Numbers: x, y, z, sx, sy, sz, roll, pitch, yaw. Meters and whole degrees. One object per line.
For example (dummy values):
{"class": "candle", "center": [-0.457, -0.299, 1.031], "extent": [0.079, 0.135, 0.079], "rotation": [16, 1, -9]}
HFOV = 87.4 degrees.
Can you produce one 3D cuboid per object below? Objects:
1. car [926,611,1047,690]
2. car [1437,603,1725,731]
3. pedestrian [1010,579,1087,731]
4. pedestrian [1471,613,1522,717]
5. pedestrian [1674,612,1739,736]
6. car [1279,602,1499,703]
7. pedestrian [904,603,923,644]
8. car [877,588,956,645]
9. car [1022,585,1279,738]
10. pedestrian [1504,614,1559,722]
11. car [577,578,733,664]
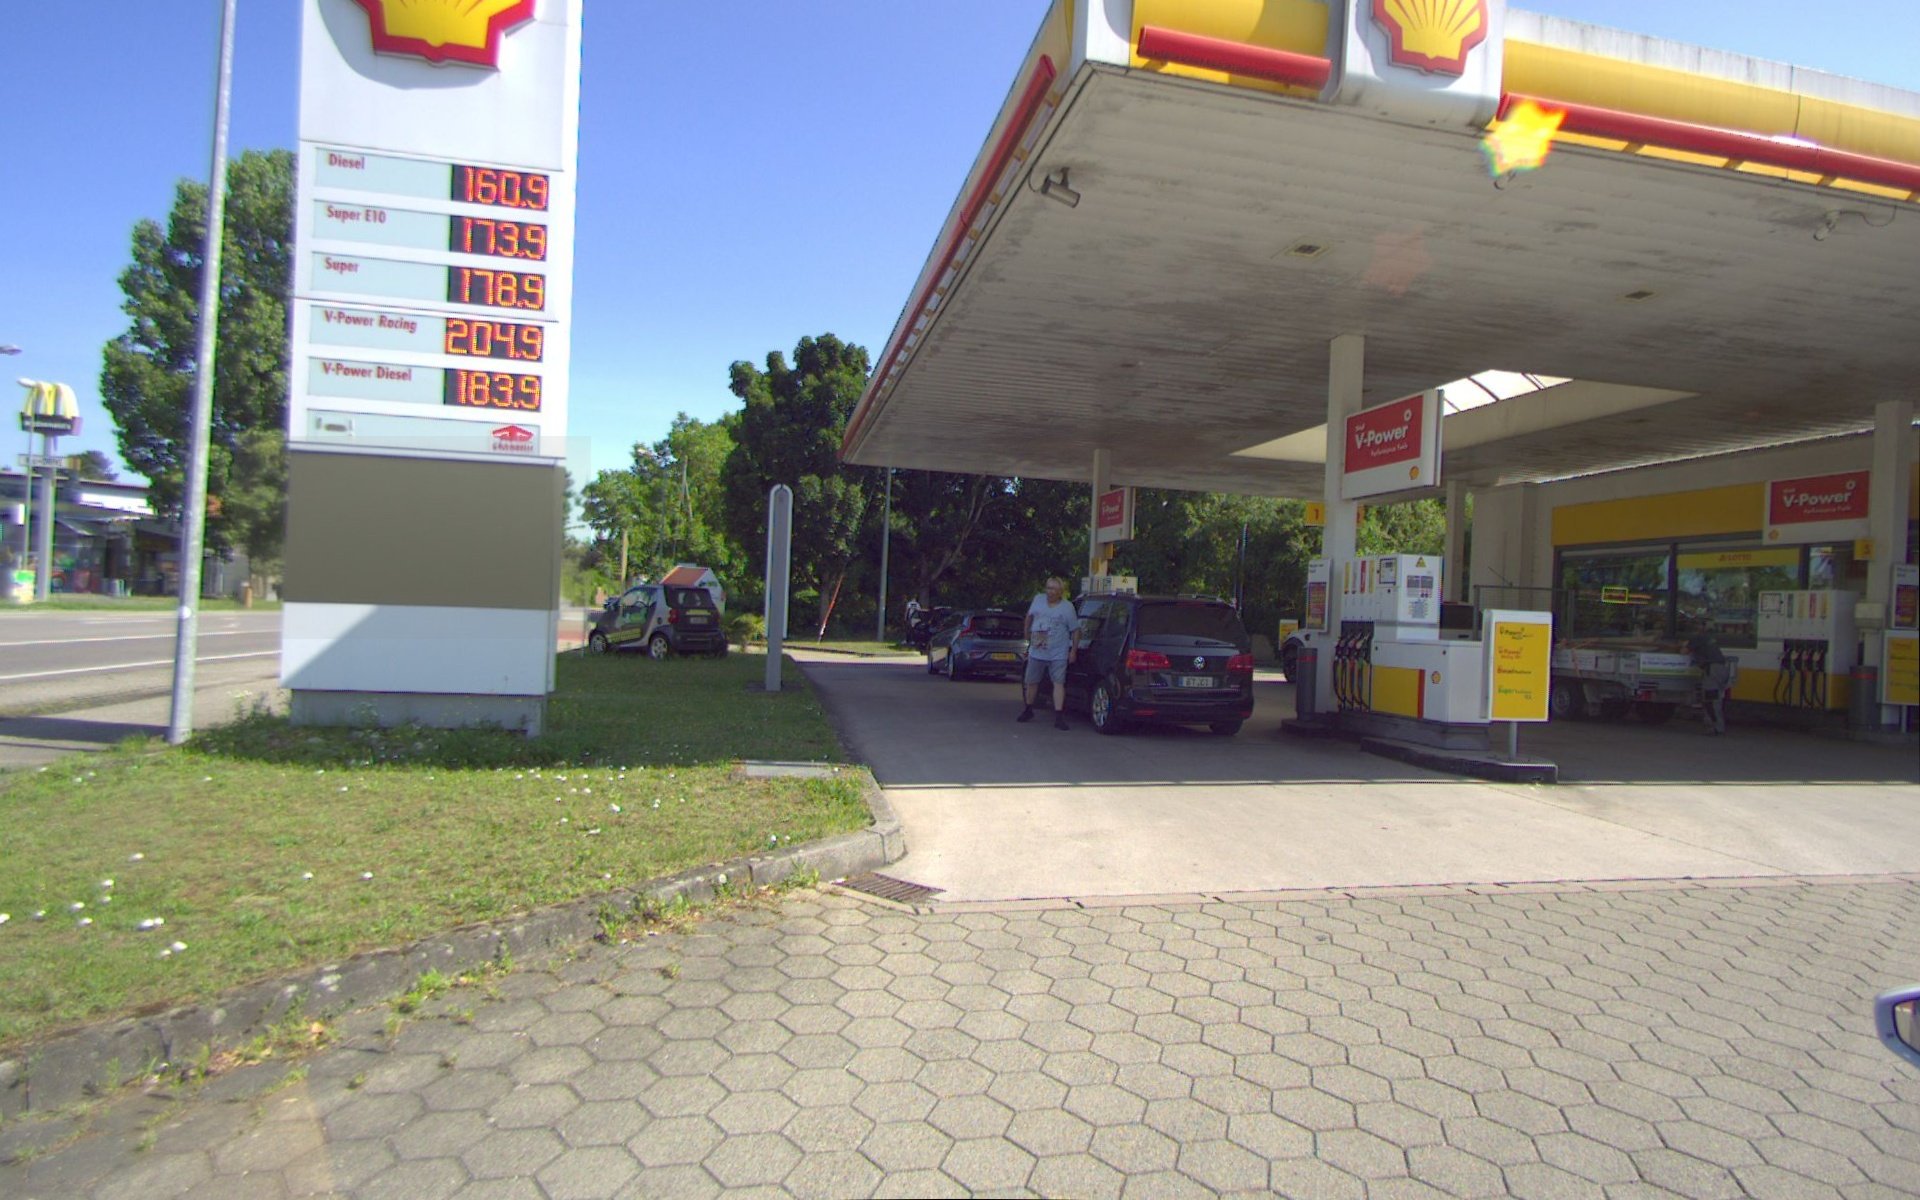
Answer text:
{"class": "car", "center": [0.437, 0.967, 20.613], "extent": [1.771, 1.378, 3.842], "rotation": [3, -1, -9]}
{"class": "car", "center": [9.801, 0.998, 16.275], "extent": [1.800, 1.750, 3.995], "rotation": [2, -1, -8]}
{"class": "pedestrian", "center": [1.058, 0.651, 12.155], "extent": [0.662, 1.752, 0.810], "rotation": [3, -1, -10]}
{"class": "pedestrian", "center": [8.730, 1.048, 16.361], "extent": [0.491, 1.653, 0.475], "rotation": [2, 0, -8]}
{"class": "pedestrian", "center": [10.411, 1.022, 14.023], "extent": [0.467, 1.690, 0.500], "rotation": [2, 0, -10]}
{"class": "car", "center": [8.962, 1.018, 21.507], "extent": [1.825, 1.862, 4.768], "rotation": [3, -1, -13]}
{"class": "pedestrian", "center": [-1.830, 0.925, 39.265], "extent": [0.665, 1.557, 0.393], "rotation": [2, 0, -8]}
{"class": "car", "center": [-1.636, 0.587, 36.254], "extent": [1.967, 1.788, 3.989], "rotation": [5, -2, -14]}
{"class": "car", "center": [2.198, 0.684, 12.721], "extent": [1.735, 1.599, 3.868], "rotation": [3, -1, -13]}
{"class": "pedestrian", "center": [8.799, 1.042, 15.475], "extent": [0.491, 1.614, 0.475], "rotation": [2, 0, -8]}
{"class": "car", "center": [-6.155, 0.425, 20.261], "extent": [2.684, 1.550, 1.574], "rotation": [2, -3, 33]}
